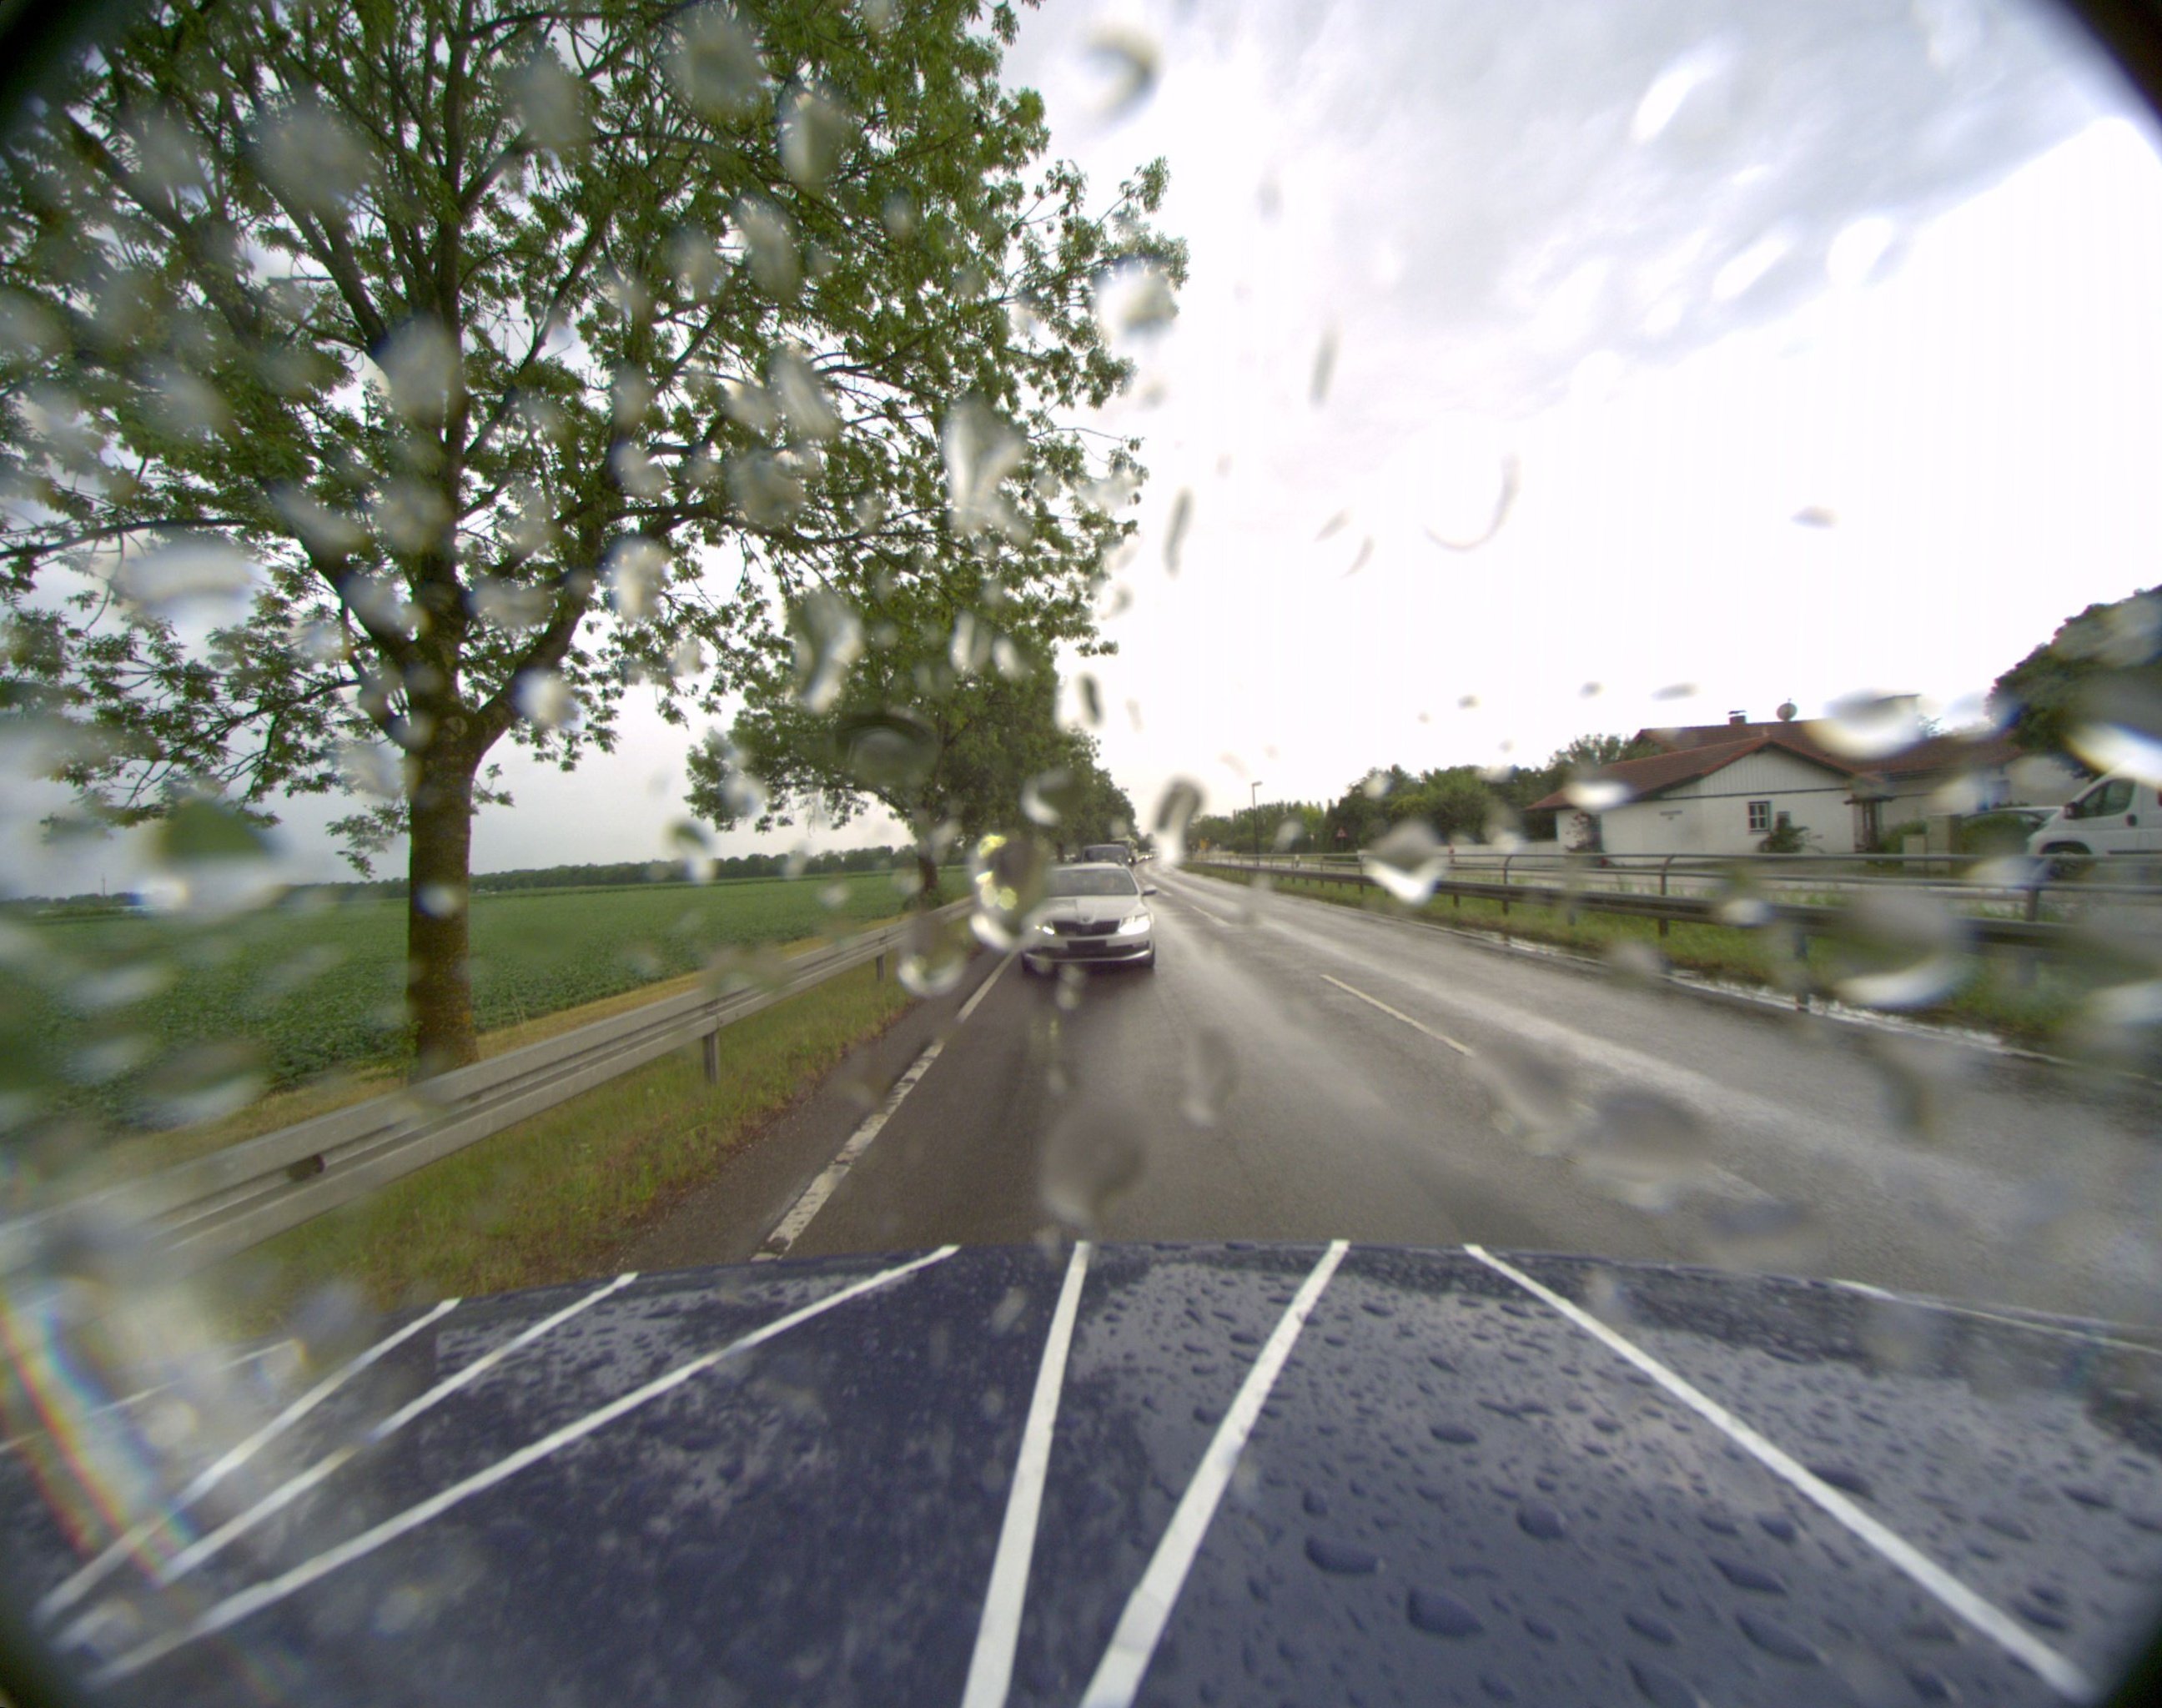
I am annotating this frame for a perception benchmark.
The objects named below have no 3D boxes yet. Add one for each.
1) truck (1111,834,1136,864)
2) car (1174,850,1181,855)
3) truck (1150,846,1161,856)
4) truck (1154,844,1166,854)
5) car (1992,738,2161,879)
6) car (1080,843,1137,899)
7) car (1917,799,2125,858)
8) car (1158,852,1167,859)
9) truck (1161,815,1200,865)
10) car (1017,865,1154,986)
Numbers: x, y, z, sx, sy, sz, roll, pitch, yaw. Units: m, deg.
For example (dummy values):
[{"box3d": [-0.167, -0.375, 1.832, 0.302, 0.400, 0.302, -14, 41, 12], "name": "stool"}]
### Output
[{"box3d": [5.291, -0.658, 95.652, 2.751, 3.547, 8.387, -2, 0, 2], "name": "truck"}, {"box3d": [32.312, -0.503, 253.370, 1.811, 1.723, 4.027, -3, 0, 2], "name": "car"}, {"box3d": [20.589, -0.908, 210.661, 2.800, 2.461, 7.169, -3, 0, 4], "name": "truck"}, {"box3d": [20.292, -1.357, 195.165, 2.800, 2.461, 7.169, -3, 0, 4], "name": "truck"}, {"box3d": [20.771, -0.895, 13.322, 2.243, 2.565, 6.019, -4, 0, 0], "name": "car"}, {"box3d": [0.946, 0.572, 27.779, 1.903, 1.884, 4.000, -1, 0, 0], "name": "car"}, {"box3d": [24.619, -0.633, 20.079, 1.452, 1.348, 3.270, -3, 0, 2], "name": "car"}, {"box3d": [24.979, 0.555, 233.056, 1.998, 2.002, 4.100, -3, 0, 1], "name": "car"}, {"box3d": [10.797, -1.441, 83.131, 3.256, 5.004, 7.784, -4, 0, 2], "name": "truck"}, {"box3d": [0.070, 0.928, 11.603, 1.705, 1.438, 4.000, -1, 0, 0], "name": "car"}]
